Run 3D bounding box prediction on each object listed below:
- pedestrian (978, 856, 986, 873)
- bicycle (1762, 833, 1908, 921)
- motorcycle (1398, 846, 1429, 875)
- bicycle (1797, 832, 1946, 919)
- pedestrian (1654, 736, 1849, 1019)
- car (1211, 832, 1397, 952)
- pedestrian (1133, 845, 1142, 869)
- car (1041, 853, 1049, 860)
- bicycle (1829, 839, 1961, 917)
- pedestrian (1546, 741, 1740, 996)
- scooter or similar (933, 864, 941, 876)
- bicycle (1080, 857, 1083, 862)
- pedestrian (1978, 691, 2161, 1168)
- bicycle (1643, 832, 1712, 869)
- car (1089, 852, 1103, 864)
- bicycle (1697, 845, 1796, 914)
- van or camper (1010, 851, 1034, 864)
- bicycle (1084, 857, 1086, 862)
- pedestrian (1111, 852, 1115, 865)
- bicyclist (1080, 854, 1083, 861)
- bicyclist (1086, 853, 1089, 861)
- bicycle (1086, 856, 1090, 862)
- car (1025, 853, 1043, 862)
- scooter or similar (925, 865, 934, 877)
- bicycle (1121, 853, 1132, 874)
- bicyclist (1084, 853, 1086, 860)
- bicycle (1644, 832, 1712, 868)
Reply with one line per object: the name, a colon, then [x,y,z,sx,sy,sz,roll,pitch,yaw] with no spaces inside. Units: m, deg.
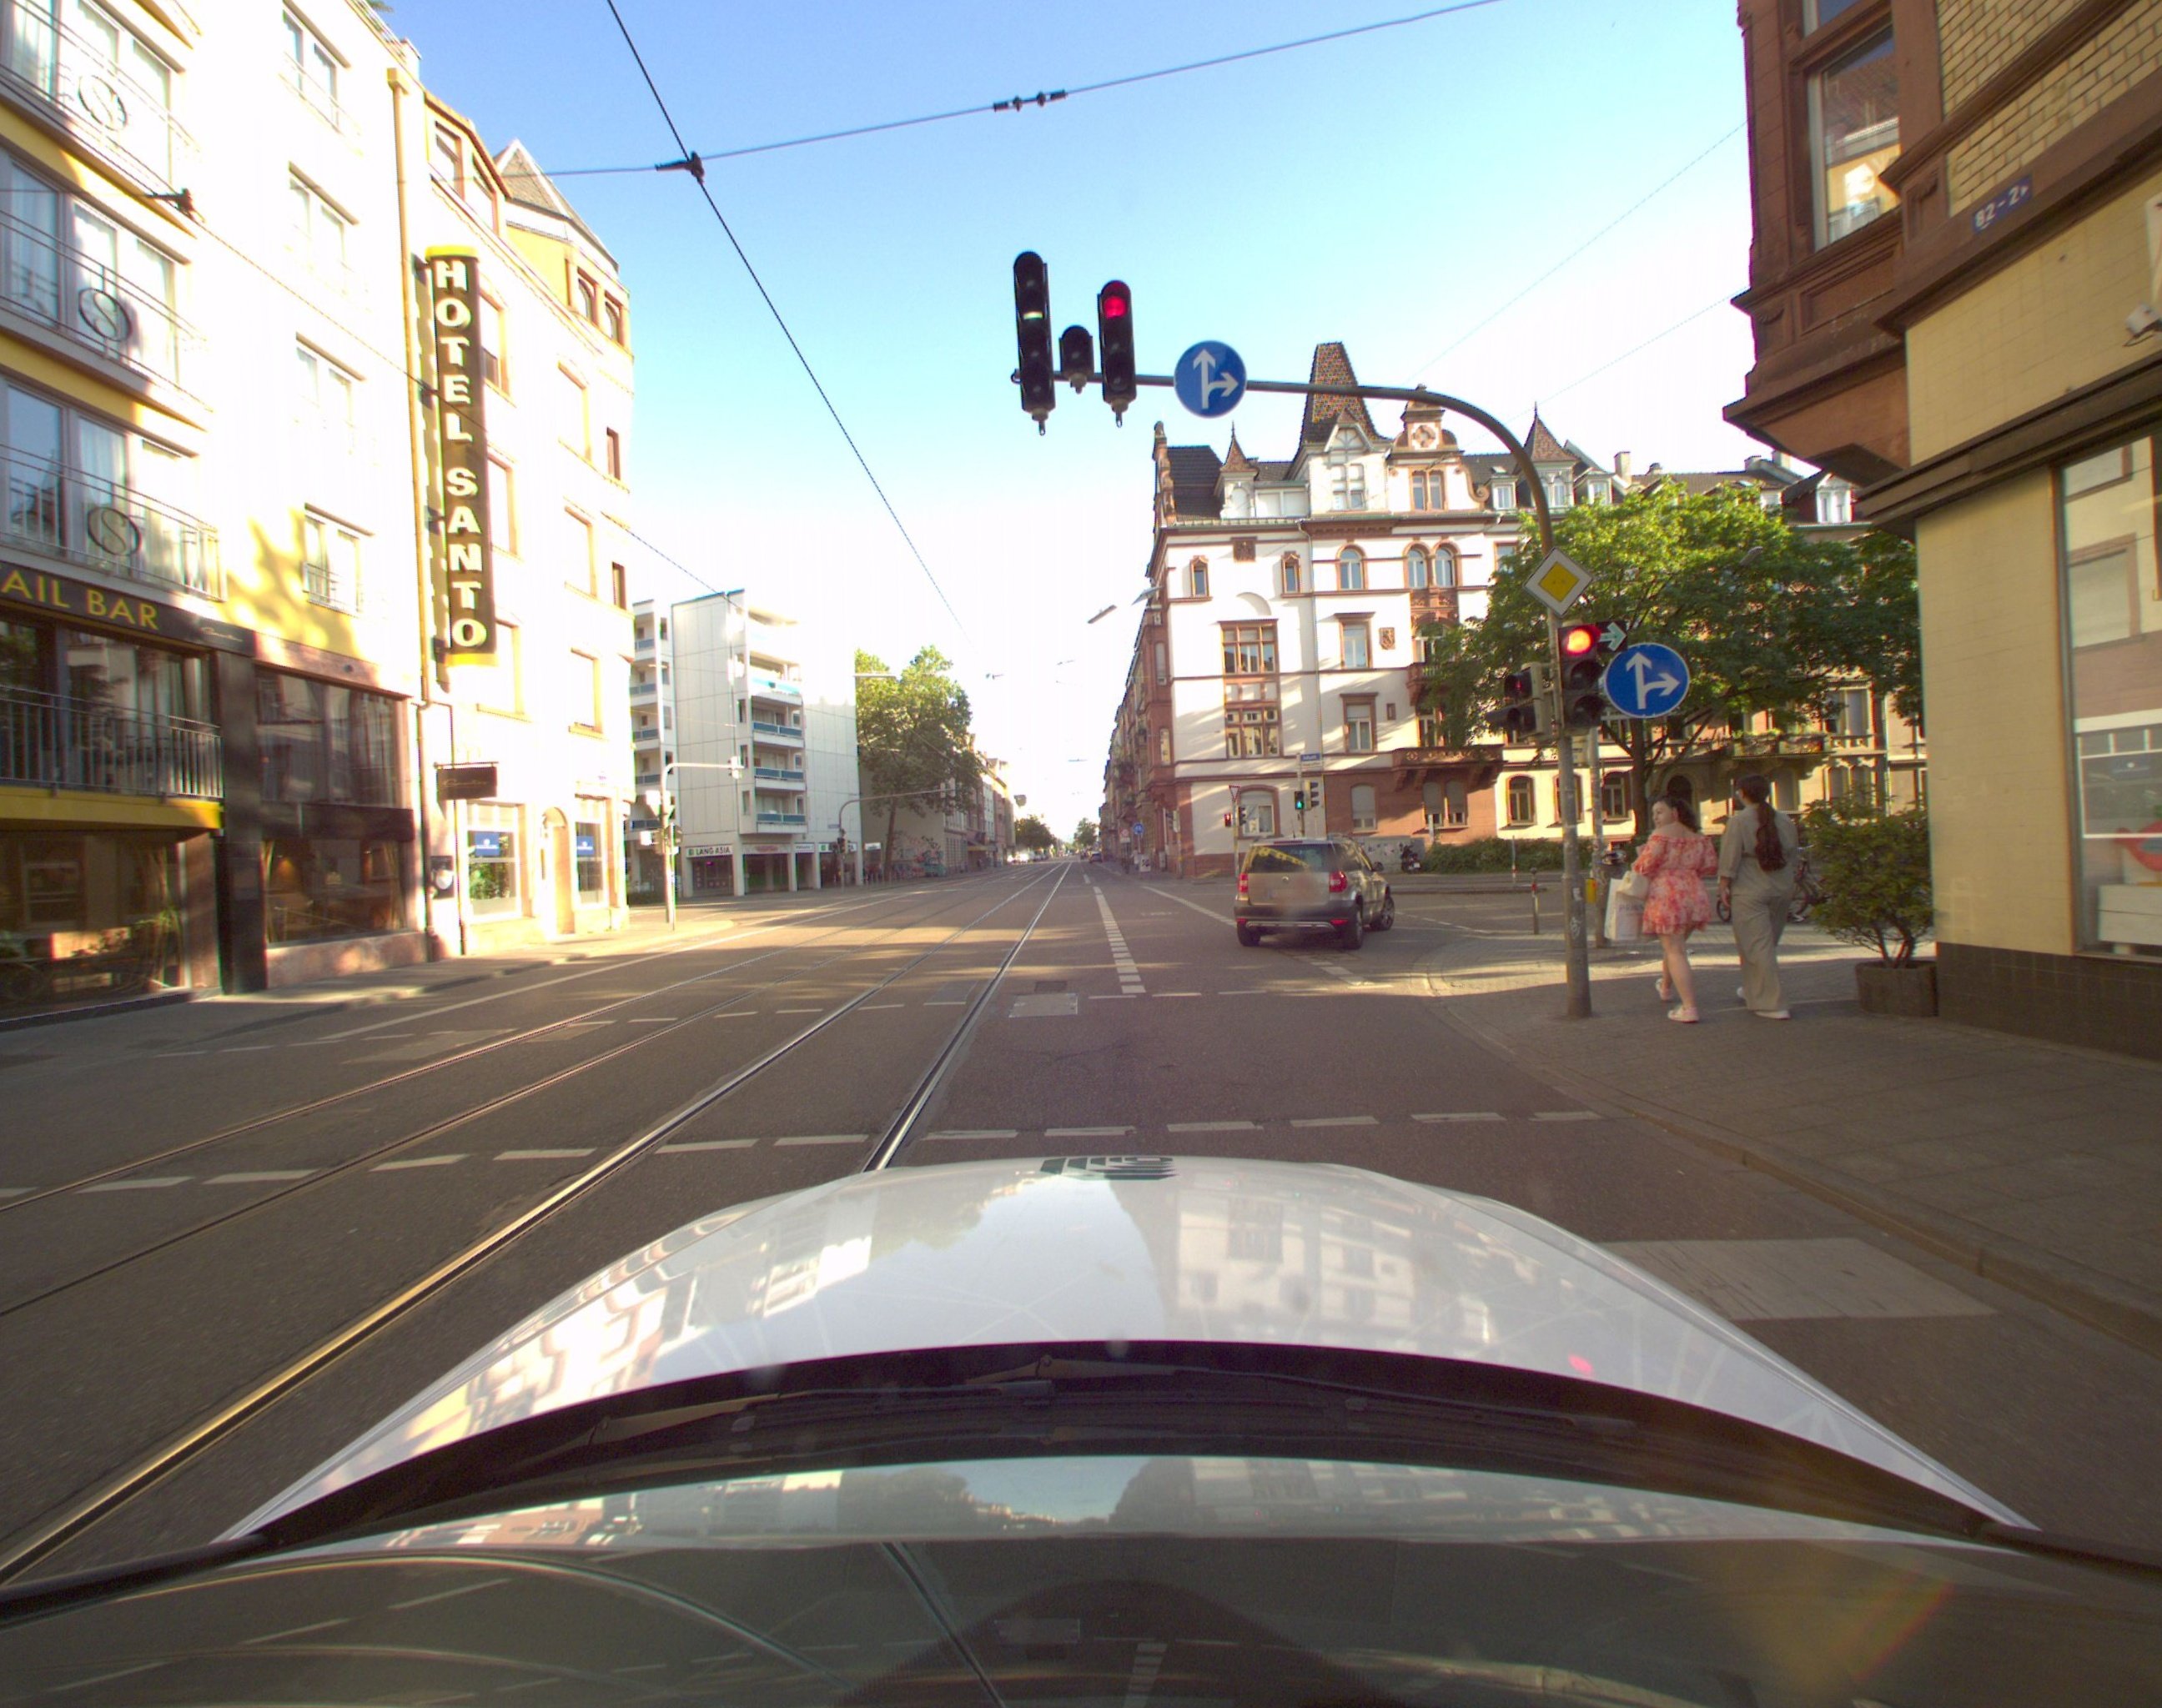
pedestrian: [-10.724,1.152,87.848,0.699,1.728,0.647,-3,0,-1]
bicycle: [11.527,0.348,12.544,0.502,1.223,1.922,-3,-2,4]
motorcycle: [13.533,0.242,33.215,0.714,1.020,2.294,-3,2,11]
bicycle: [12.042,0.326,12.495,0.447,1.223,1.922,-3,-2,4]
pedestrian: [4.936,0.159,6.041,0.689,1.908,0.670,-7,0,-2]
car: [3.753,0.510,13.180,1.975,1.618,4.025,-1,0,29]
pedestrian: [4.272,0.207,61.725,0.543,1.780,0.504,-3,0,0]
car: [-10.334,0.652,234.819,1.988,2.013,3.998,-3,0,-1]
bicycle: [12.564,0.361,12.642,0.447,1.111,1.613,-3,-2,4]
pedestrian: [4.375,0.100,6.405,0.803,1.799,0.761,-7,0,-2]
scooter or similar: [-13.108,1.468,74.082,0.515,1.057,1.477,-3,0,-2]
bicycle: [0.210,1.213,186.975,0.573,1.030,1.895,-3,0,1]
pedestrian: [4.402,0.253,3.002,0.803,1.799,1.091,-7,0,-2]
bicycle: [20.475,-0.127,27.973,1.840,1.161,0.563,-3,1,37]
car: [2.252,0.545,123.095,1.943,1.684,4.001,-3,0,1]
bicycle: [10.837,0.406,13.300,0.773,1.045,1.066,-3,-2,9]
van or camper: [-12.494,0.830,172.909,4.666,2.563,1.980,-2,-1,-31]
bicycle: [1.009,1.360,199.157,0.573,1.030,1.895,-3,0,1]
pedestrian: [4.421,0.671,112.546,0.543,1.780,0.749,-3,0,0]
bicyclist: [0.183,0.825,186.971,0.573,1.494,0.795,-3,0,1]
bicyclist: [1.329,0.520,160.074,0.573,1.554,0.595,-3,0,1]
bicycle: [1.357,1.019,160.076,0.573,1.030,1.895,-3,0,1]
car: [-12.113,0.863,208.351,4.007,2.013,1.983,-3,0,-25]
scooter or similar: [-13.764,1.501,74.037,0.515,1.045,1.477,-3,0,-2]
bicycle: [3.012,0.624,53.758,0.651,1.323,2.178,-3,0,2]
bicyclist: [0.965,0.682,199.144,0.573,1.678,0.795,-3,0,1]
bicycle: [20.848,-0.139,28.450,1.840,1.161,0.563,-3,1,37]
